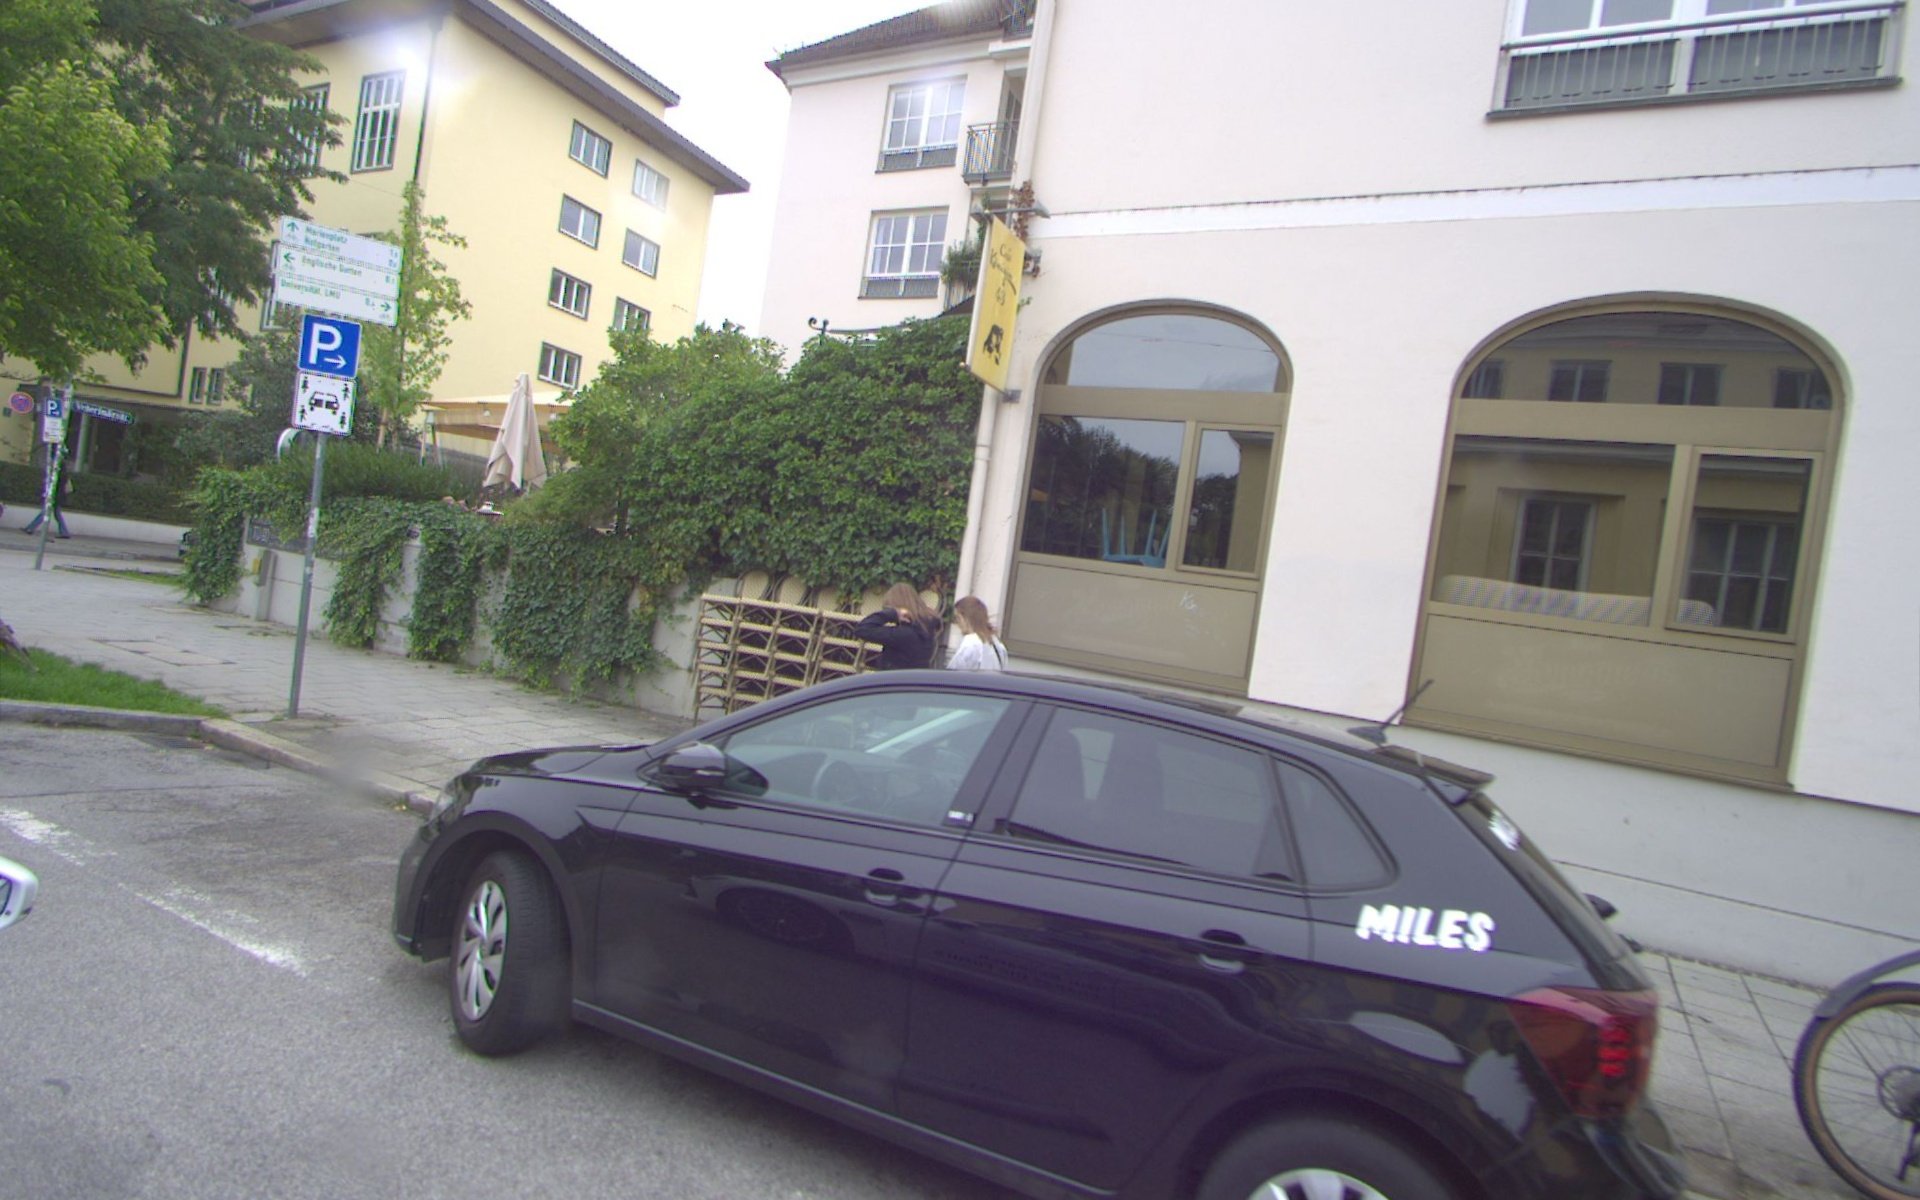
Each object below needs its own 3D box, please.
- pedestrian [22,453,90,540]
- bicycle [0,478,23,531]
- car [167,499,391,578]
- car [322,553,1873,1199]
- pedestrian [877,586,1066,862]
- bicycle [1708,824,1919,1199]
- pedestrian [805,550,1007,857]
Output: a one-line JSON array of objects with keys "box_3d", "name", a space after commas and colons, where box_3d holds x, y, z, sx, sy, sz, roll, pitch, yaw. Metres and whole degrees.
[{"box_3d": [-21.050, -2.400, 23.424, 0.753, 1.881, 0.851, 8, 2, 28], "name": "pedestrian"}, {"box_3d": [-22.416, -2.267, 22.724, 0.452, 1.144, 1.686, 9, 1, 27], "name": "bicycle"}, {"box_3d": [-17.003, -1.494, 25.345, 1.634, 1.383, 4.327, 6, -1, 30], "name": "car"}, {"box_3d": [0.068, 0.893, 3.345, 3.928, 1.409, 1.722, 8, -3, 25], "name": "car"}, {"box_3d": [0.092, 0.786, 6.728, 0.815, 1.626, 0.808, 7, 1, 28], "name": "pedestrian"}, {"box_3d": [3.763, 1.527, 3.413, 1.754, 1.083, 0.566, 9, 1, 20], "name": "bicycle"}, {"box_3d": [-0.318, 0.587, 6.068, 0.815, 1.649, 0.679, 7, 1, 27], "name": "pedestrian"}]
